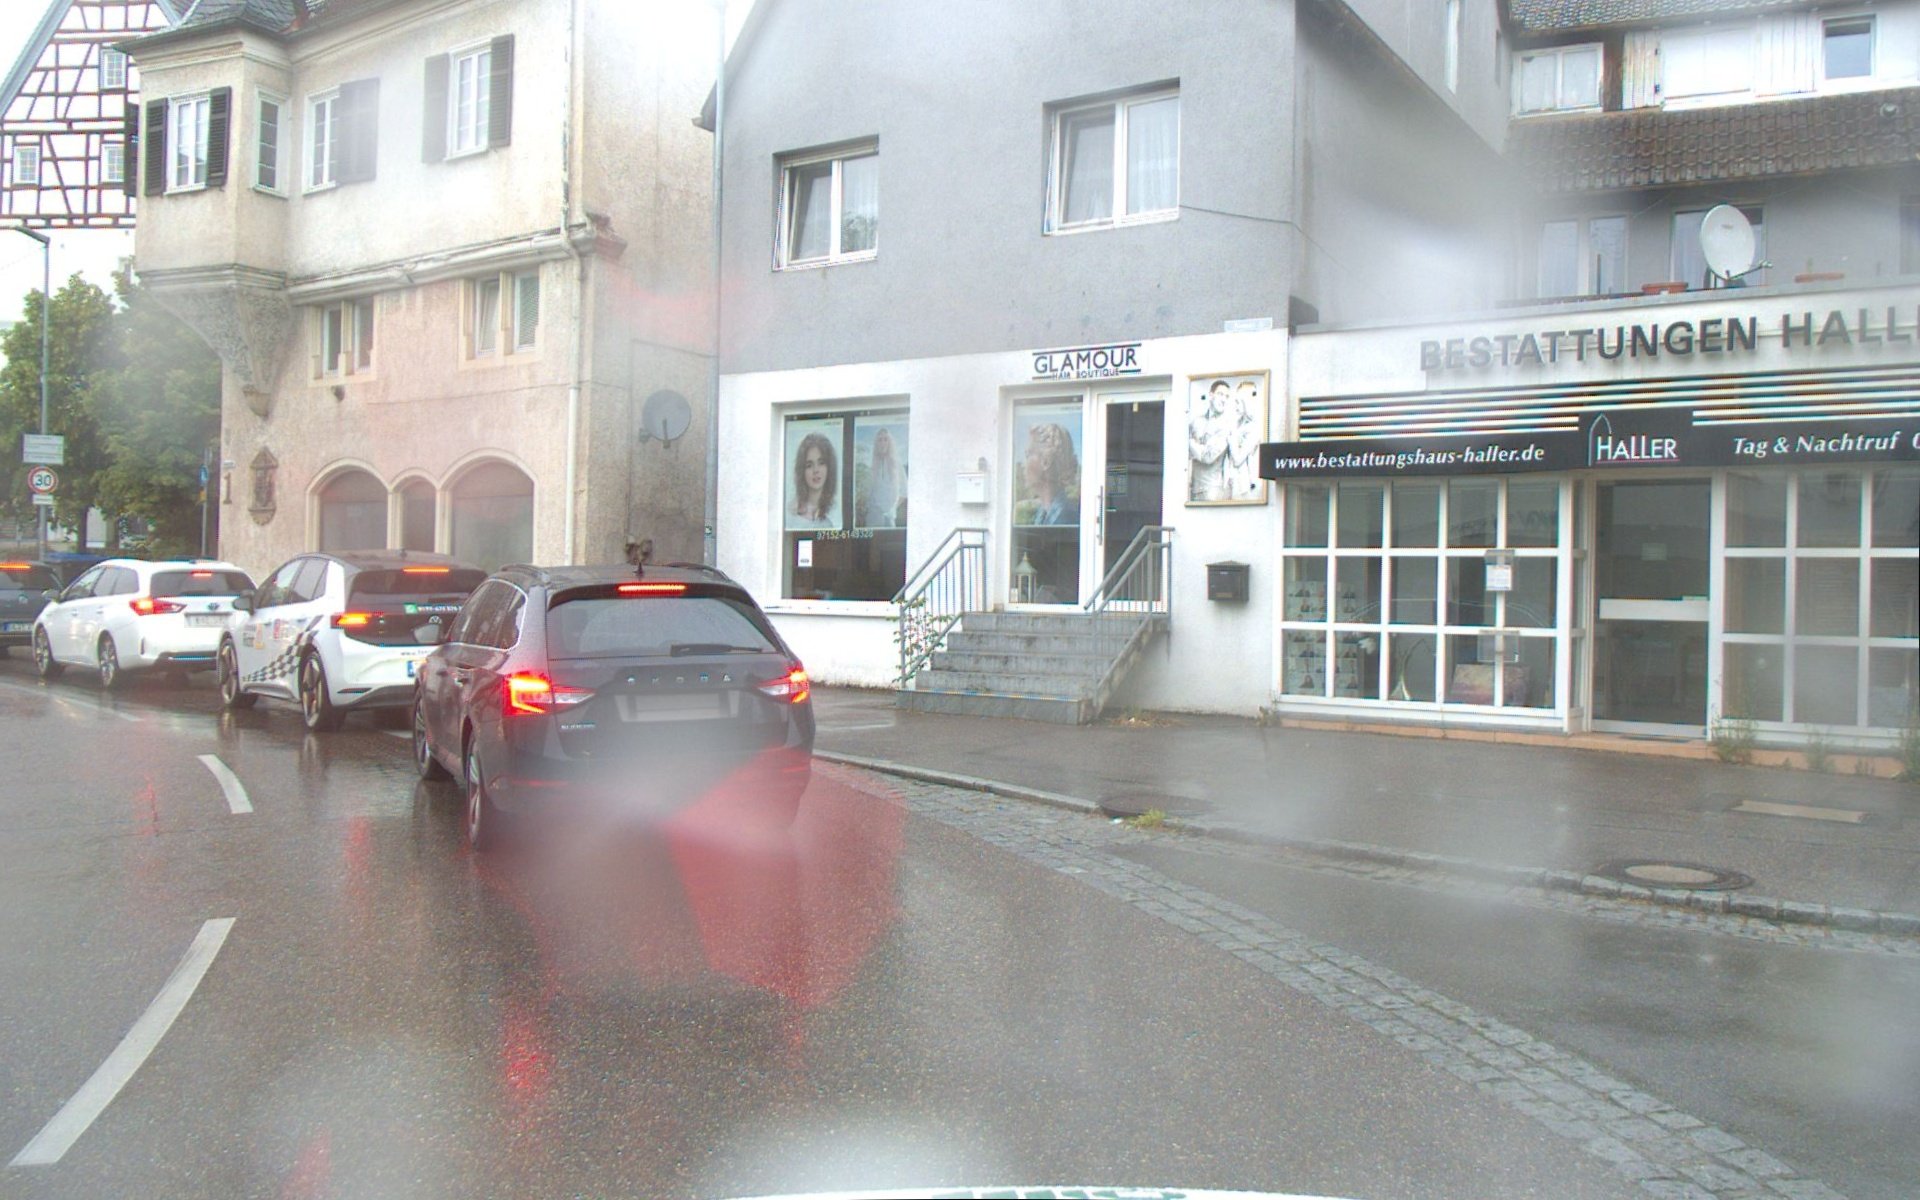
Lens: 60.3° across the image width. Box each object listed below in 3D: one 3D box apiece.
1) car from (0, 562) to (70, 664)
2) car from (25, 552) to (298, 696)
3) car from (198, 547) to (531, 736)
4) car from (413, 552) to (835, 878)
[{"bbox_3d":[-14.922,0.146,24.946,3.701,1.385,1.514,3,3,42],"label":"car"},{"bbox_3d":[-9.770,0.200,20.105,1.778,1.490,4.096,-2,3,-45],"label":"car"},{"bbox_3d":[-5.784,0.289,15.764,1.777,1.543,4.183,-1,2,-38],"label":"car"},{"bbox_3d":[-2.228,0.474,9.972,1.709,1.475,4.212,0,2,-23],"label":"car"}]
